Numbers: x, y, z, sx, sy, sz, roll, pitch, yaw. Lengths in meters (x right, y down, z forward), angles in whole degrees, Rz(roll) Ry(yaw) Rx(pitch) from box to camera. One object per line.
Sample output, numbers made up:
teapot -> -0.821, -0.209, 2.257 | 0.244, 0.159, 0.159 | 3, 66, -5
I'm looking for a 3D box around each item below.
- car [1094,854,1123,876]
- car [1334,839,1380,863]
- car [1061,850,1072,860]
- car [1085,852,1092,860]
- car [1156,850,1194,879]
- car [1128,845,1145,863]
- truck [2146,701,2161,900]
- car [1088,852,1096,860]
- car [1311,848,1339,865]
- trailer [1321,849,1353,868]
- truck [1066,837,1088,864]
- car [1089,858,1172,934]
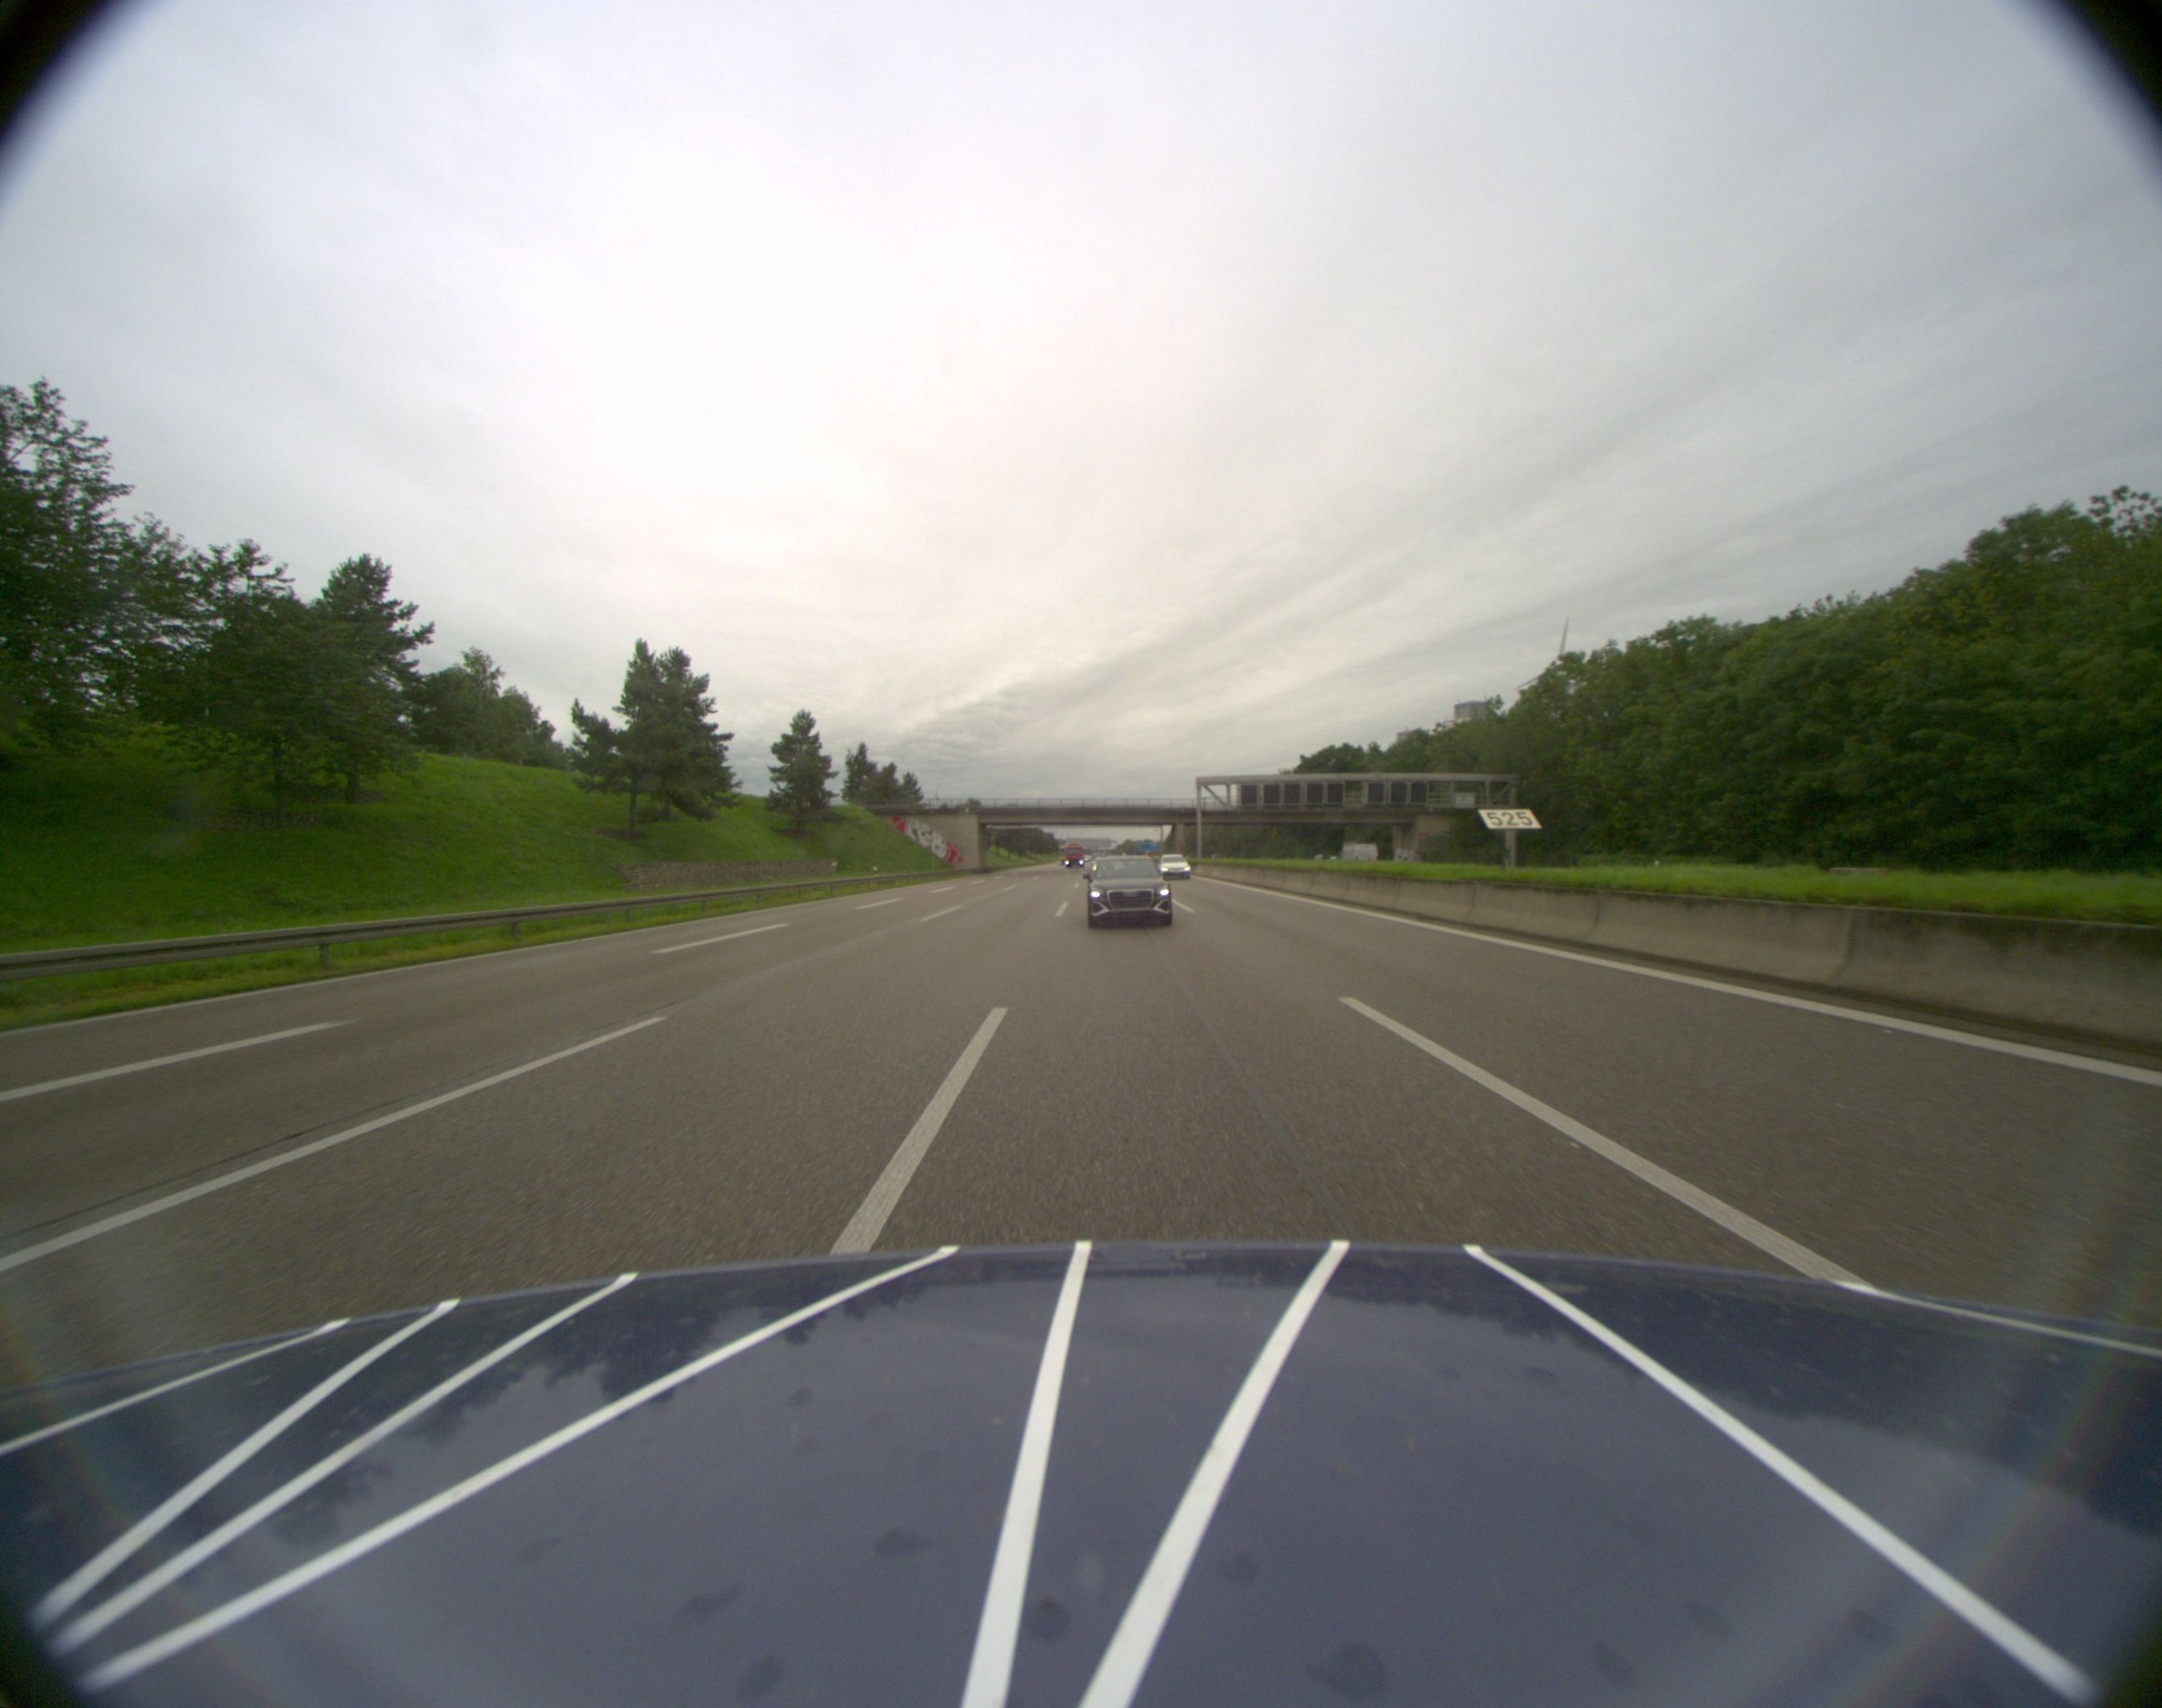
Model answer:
car -> 1.975, 0.781, 56.418 | 1.998, 1.555, 4.910 | -2, 0, 1
car -> 26.267, -0.313, 72.567 | 2.202, 2.072, 6.065 | -2, 1, 1
car -> -3.063, 0.295, 162.854 | 1.998, 2.002, 4.000 | -2, 1, 2
car -> 2.043, 0.520, 196.137 | 1.690, 1.875, 3.741 | -2, 1, 1
car -> 5.587, 0.596, 45.837 | 1.757, 1.608, 4.663 | -1, 0, 1
car -> 6.456, 0.001, 88.805 | 1.725, 2.002, 3.851 | -2, 1, 1
truck -> 20.454, -0.964, 10.262 | 2.673, 3.531, 6.760 | -2, 1, 0
car -> 3.037, 0.590, 213.187 | 1.998, 2.002, 3.999 | -2, 1, 0
car -> 29.390, 0.273, 91.510 | 1.998, 2.002, 4.365 | -2, 1, 1
trailer -> 29.228, 0.430, 86.962 | 1.998, 2.002, 5.177 | -2, 1, 3
truck -> -0.497, -0.492, 110.146 | 2.836, 3.634, 10.670 | -2, 1, 1
car -> 1.017, 0.861, 17.035 | 1.616, 1.403, 3.326 | -2, 1, 0
